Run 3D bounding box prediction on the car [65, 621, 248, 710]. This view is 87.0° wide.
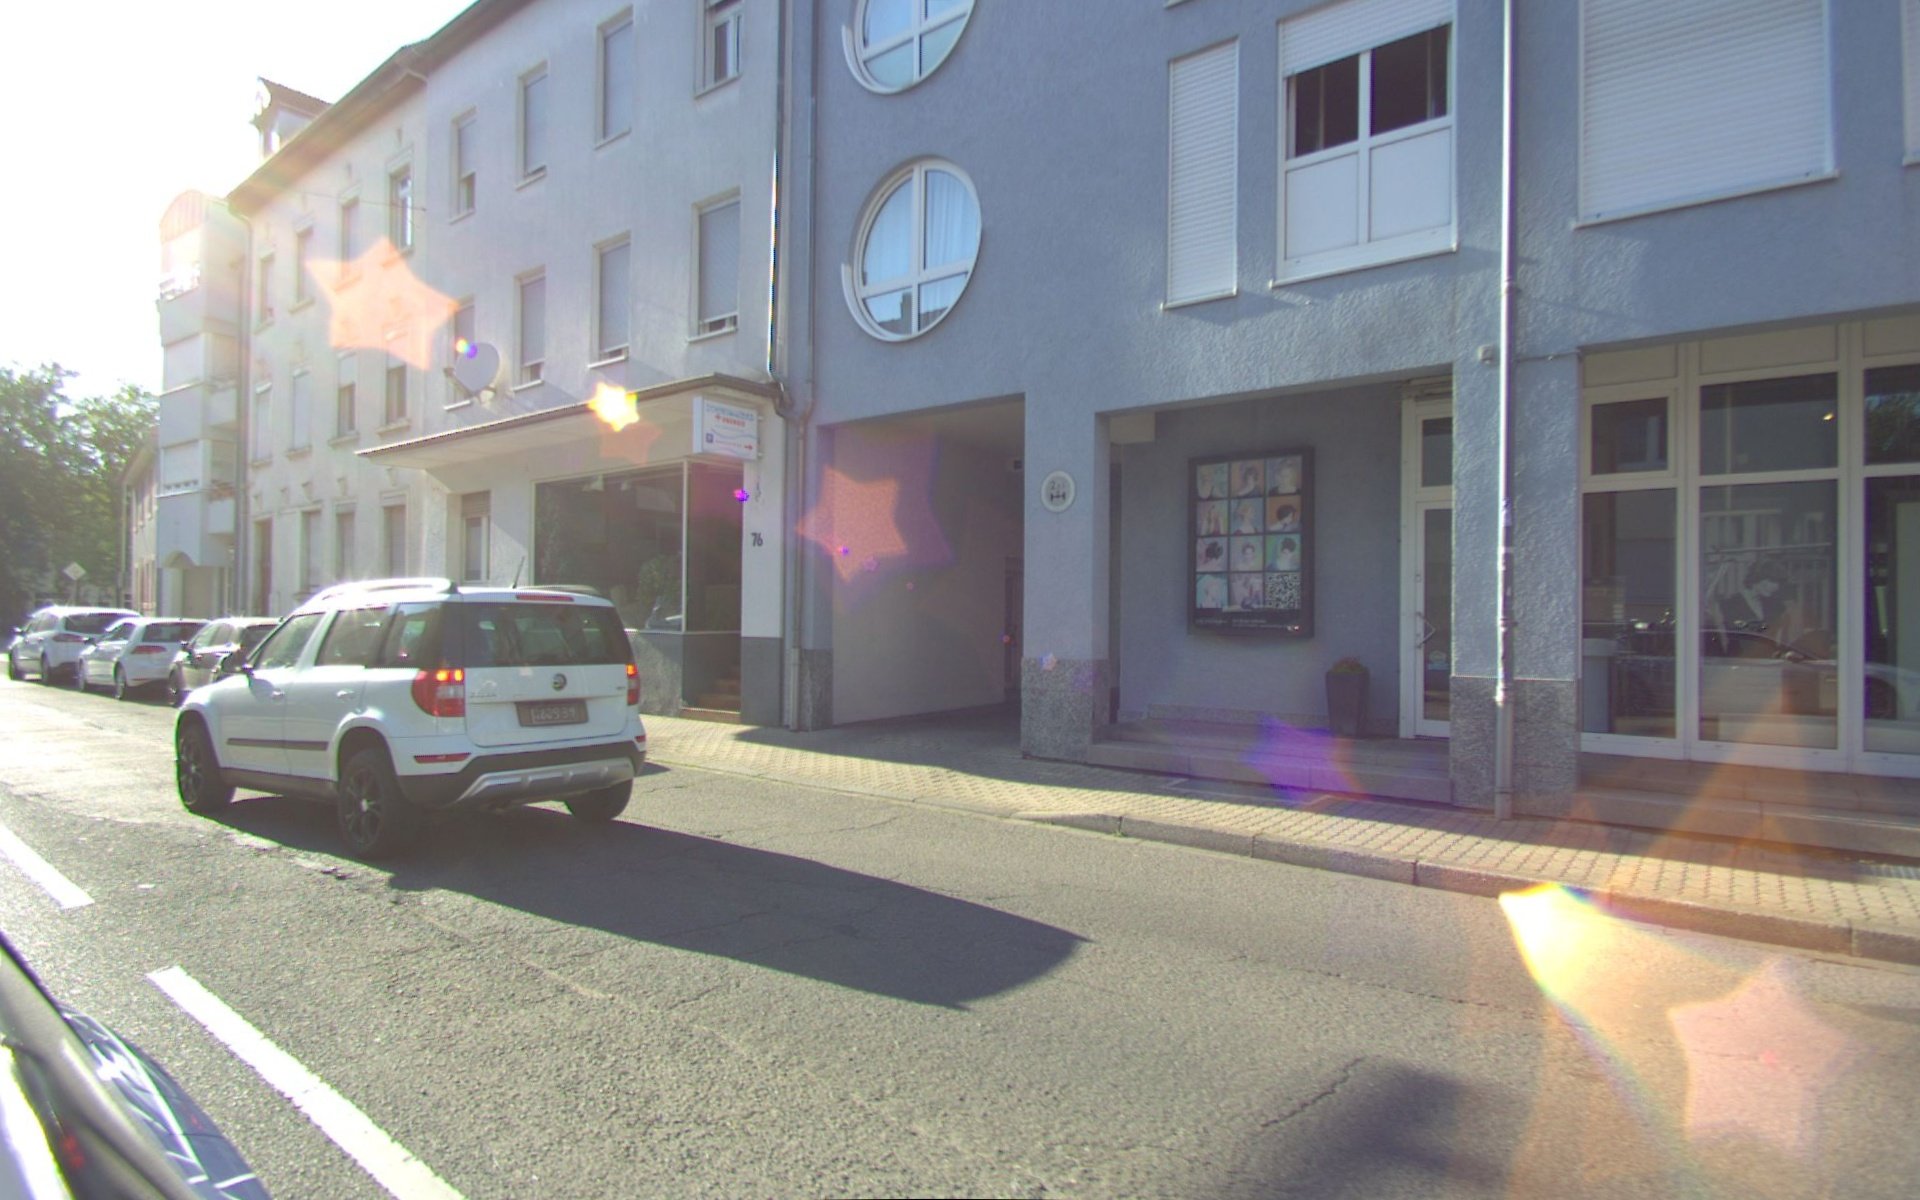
[{"bbox_3d":[-15.333,1.196,19.257,4.120,1.507,1.748,-1,-4,38],"label":"car"}]

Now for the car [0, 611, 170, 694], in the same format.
[{"bbox_3d":[-19.821,1.100,22.690,5.211,1.660,1.976,-1,-1,36],"label":"car"}]

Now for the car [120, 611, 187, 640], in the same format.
[{"bbox_3d":[-56.035,1.736,70.351,4.301,1.963,2.006,0,-1,26],"label":"car"}]

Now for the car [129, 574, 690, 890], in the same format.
[{"bbox_3d":[-4.134,0.779,7.422,4.179,1.714,1.793,-1,-3,33],"label":"car"}]

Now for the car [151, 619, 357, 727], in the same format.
[{"bbox_3d":[-11.413,1.119,16.295,3.804,1.538,1.644,-1,-4,39],"label":"car"}]

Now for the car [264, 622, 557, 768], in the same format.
[{"bbox_3d":[-6.802,1.033,12.394,3.953,1.511,1.714,-1,-2,38],"label":"car"}]

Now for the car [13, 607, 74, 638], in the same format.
[{"bbox_3d":[-59.229,1.438,65.358,4.893,1.909,1.828,-1,-1,34],"label":"car"}]
